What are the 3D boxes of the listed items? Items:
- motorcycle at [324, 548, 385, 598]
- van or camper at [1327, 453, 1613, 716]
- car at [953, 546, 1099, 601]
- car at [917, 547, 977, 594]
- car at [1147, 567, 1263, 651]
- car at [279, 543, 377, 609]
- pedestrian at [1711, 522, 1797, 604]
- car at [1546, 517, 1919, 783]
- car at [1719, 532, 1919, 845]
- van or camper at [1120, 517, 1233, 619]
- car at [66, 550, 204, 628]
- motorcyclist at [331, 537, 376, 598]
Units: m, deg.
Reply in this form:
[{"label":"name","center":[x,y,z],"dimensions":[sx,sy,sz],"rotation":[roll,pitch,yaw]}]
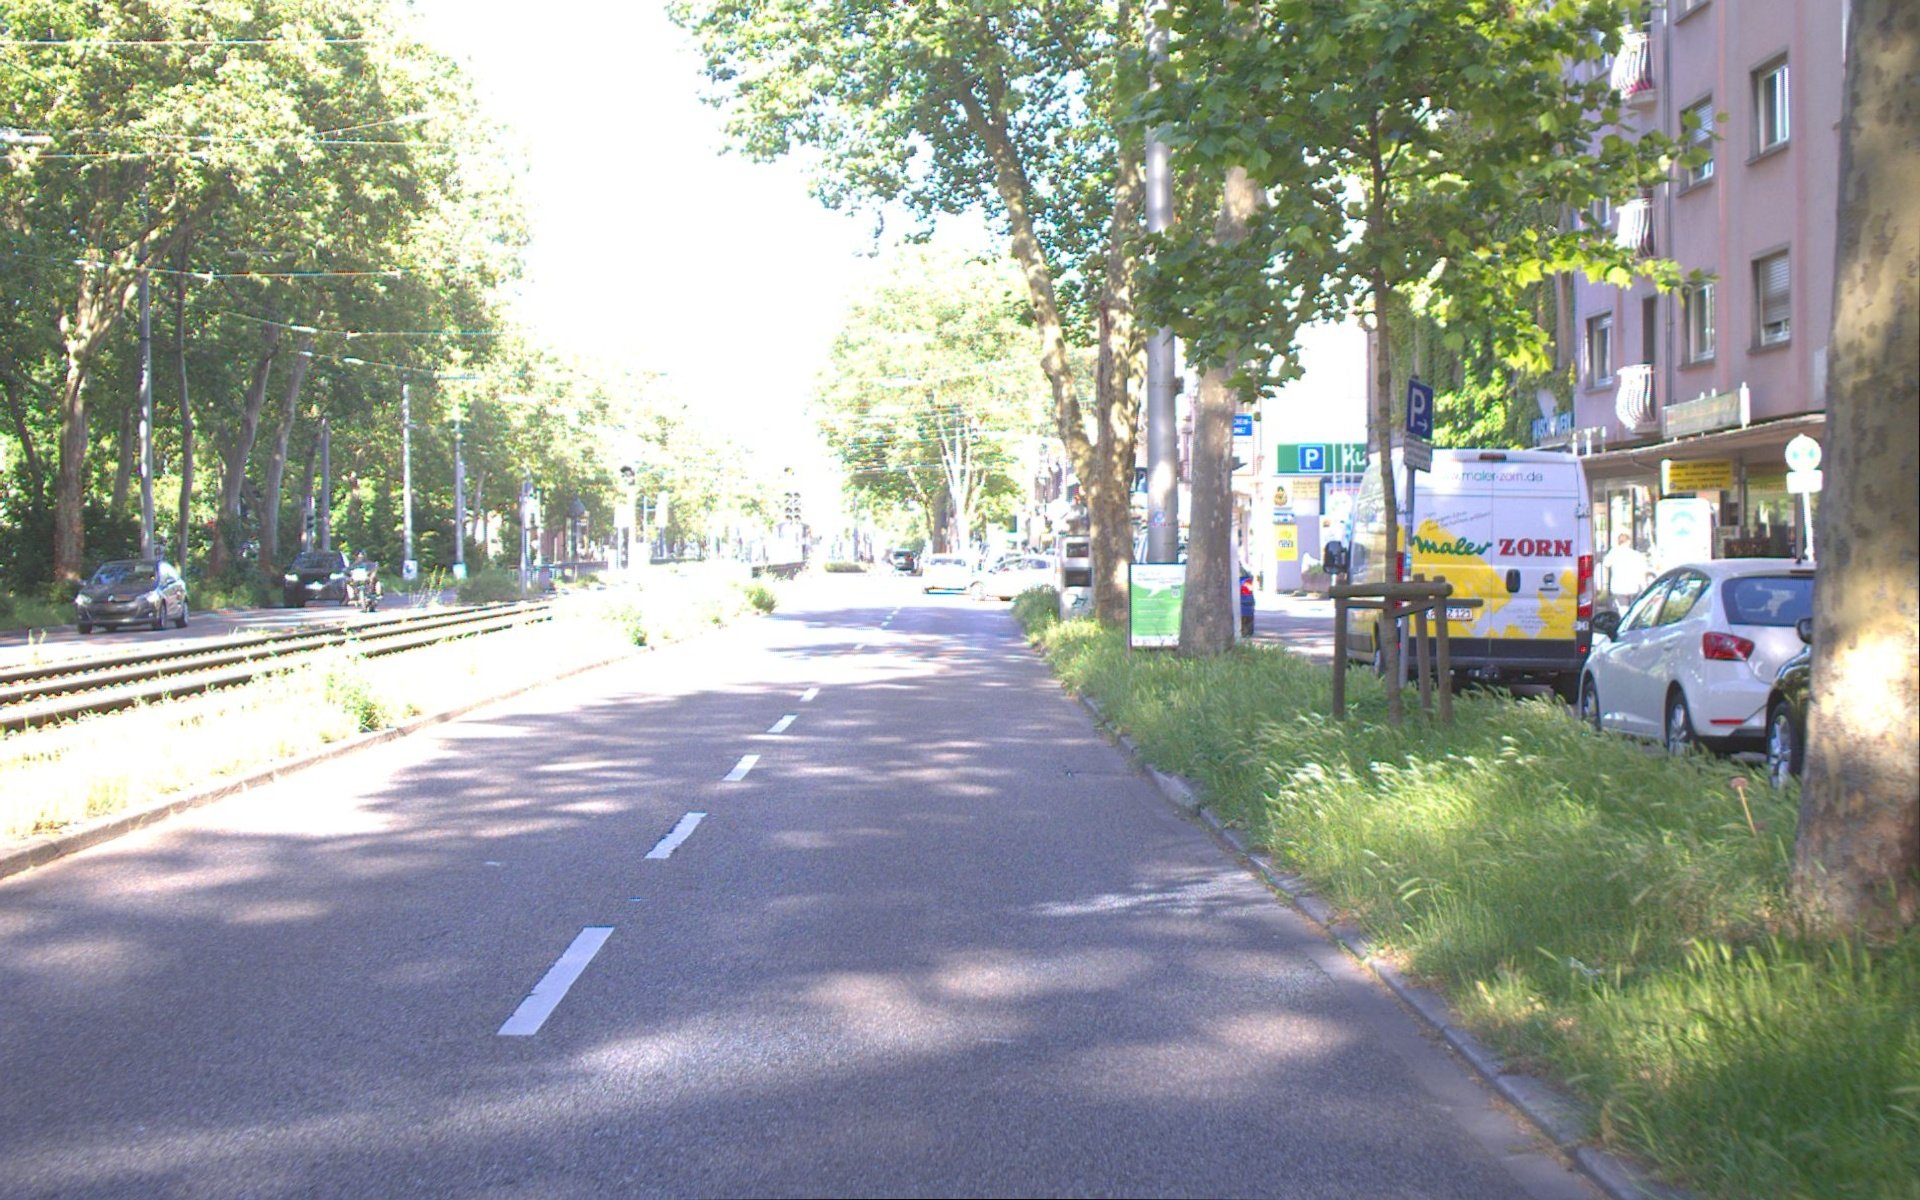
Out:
[{"label":"motorcycle","center":[-15.153,-0.684,86.157],"dimensions":[0.964,1.208,3.351],"rotation":[-1,1,0]},{"label":"van or camper","center":[5.268,-0.177,36.391],"dimensions":[2.184,2.472,6.268],"rotation":[2,1,2]},{"label":"car","center":[1.994,-0.814,104.350],"dimensions":[3.995,1.656,2.024],"rotation":[0,1,34]},{"label":"car","center":[-0.488,-1.046,121.147],"dimensions":[2.021,1.656,4.000],"rotation":[0,1,-2]},{"label":"car","center":[4.535,0.151,64.165],"dimensions":[1.683,1.508,3.668],"rotation":[1,1,-3]},{"label":"car","center":[-19.114,-0.756,104.172],"dimensions":[1.993,1.864,4.873],"rotation":[-2,1,0]},{"label":"pedestrian","center":[12.127,-0.566,52.518],"dimensions":[1.143,1.251,0.749],"rotation":[0,1,0]},{"label":"car","center":[5.256,0.290,23.102],"dimensions":[1.753,1.567,4.185],"rotation":[2,1,-2]},{"label":"car","center":[5.430,0.438,18.162],"dimensions":[1.753,1.491,4.185],"rotation":[2,1,-2]},{"label":"van or camper","center":[4.331,-0.647,69.466],"dimensions":[1.839,1.956,5.127],"rotation":[1,1,-1]},{"label":"car","center":[-17.355,-0.245,72.497],"dimensions":[1.795,1.503,4.339],"rotation":[-3,1,0]},{"label":"motorcyclist","center":[-15.158,-0.828,85.994],"dimensions":[0.944,1.508,0.959],"rotation":[-1,1,0]}]
